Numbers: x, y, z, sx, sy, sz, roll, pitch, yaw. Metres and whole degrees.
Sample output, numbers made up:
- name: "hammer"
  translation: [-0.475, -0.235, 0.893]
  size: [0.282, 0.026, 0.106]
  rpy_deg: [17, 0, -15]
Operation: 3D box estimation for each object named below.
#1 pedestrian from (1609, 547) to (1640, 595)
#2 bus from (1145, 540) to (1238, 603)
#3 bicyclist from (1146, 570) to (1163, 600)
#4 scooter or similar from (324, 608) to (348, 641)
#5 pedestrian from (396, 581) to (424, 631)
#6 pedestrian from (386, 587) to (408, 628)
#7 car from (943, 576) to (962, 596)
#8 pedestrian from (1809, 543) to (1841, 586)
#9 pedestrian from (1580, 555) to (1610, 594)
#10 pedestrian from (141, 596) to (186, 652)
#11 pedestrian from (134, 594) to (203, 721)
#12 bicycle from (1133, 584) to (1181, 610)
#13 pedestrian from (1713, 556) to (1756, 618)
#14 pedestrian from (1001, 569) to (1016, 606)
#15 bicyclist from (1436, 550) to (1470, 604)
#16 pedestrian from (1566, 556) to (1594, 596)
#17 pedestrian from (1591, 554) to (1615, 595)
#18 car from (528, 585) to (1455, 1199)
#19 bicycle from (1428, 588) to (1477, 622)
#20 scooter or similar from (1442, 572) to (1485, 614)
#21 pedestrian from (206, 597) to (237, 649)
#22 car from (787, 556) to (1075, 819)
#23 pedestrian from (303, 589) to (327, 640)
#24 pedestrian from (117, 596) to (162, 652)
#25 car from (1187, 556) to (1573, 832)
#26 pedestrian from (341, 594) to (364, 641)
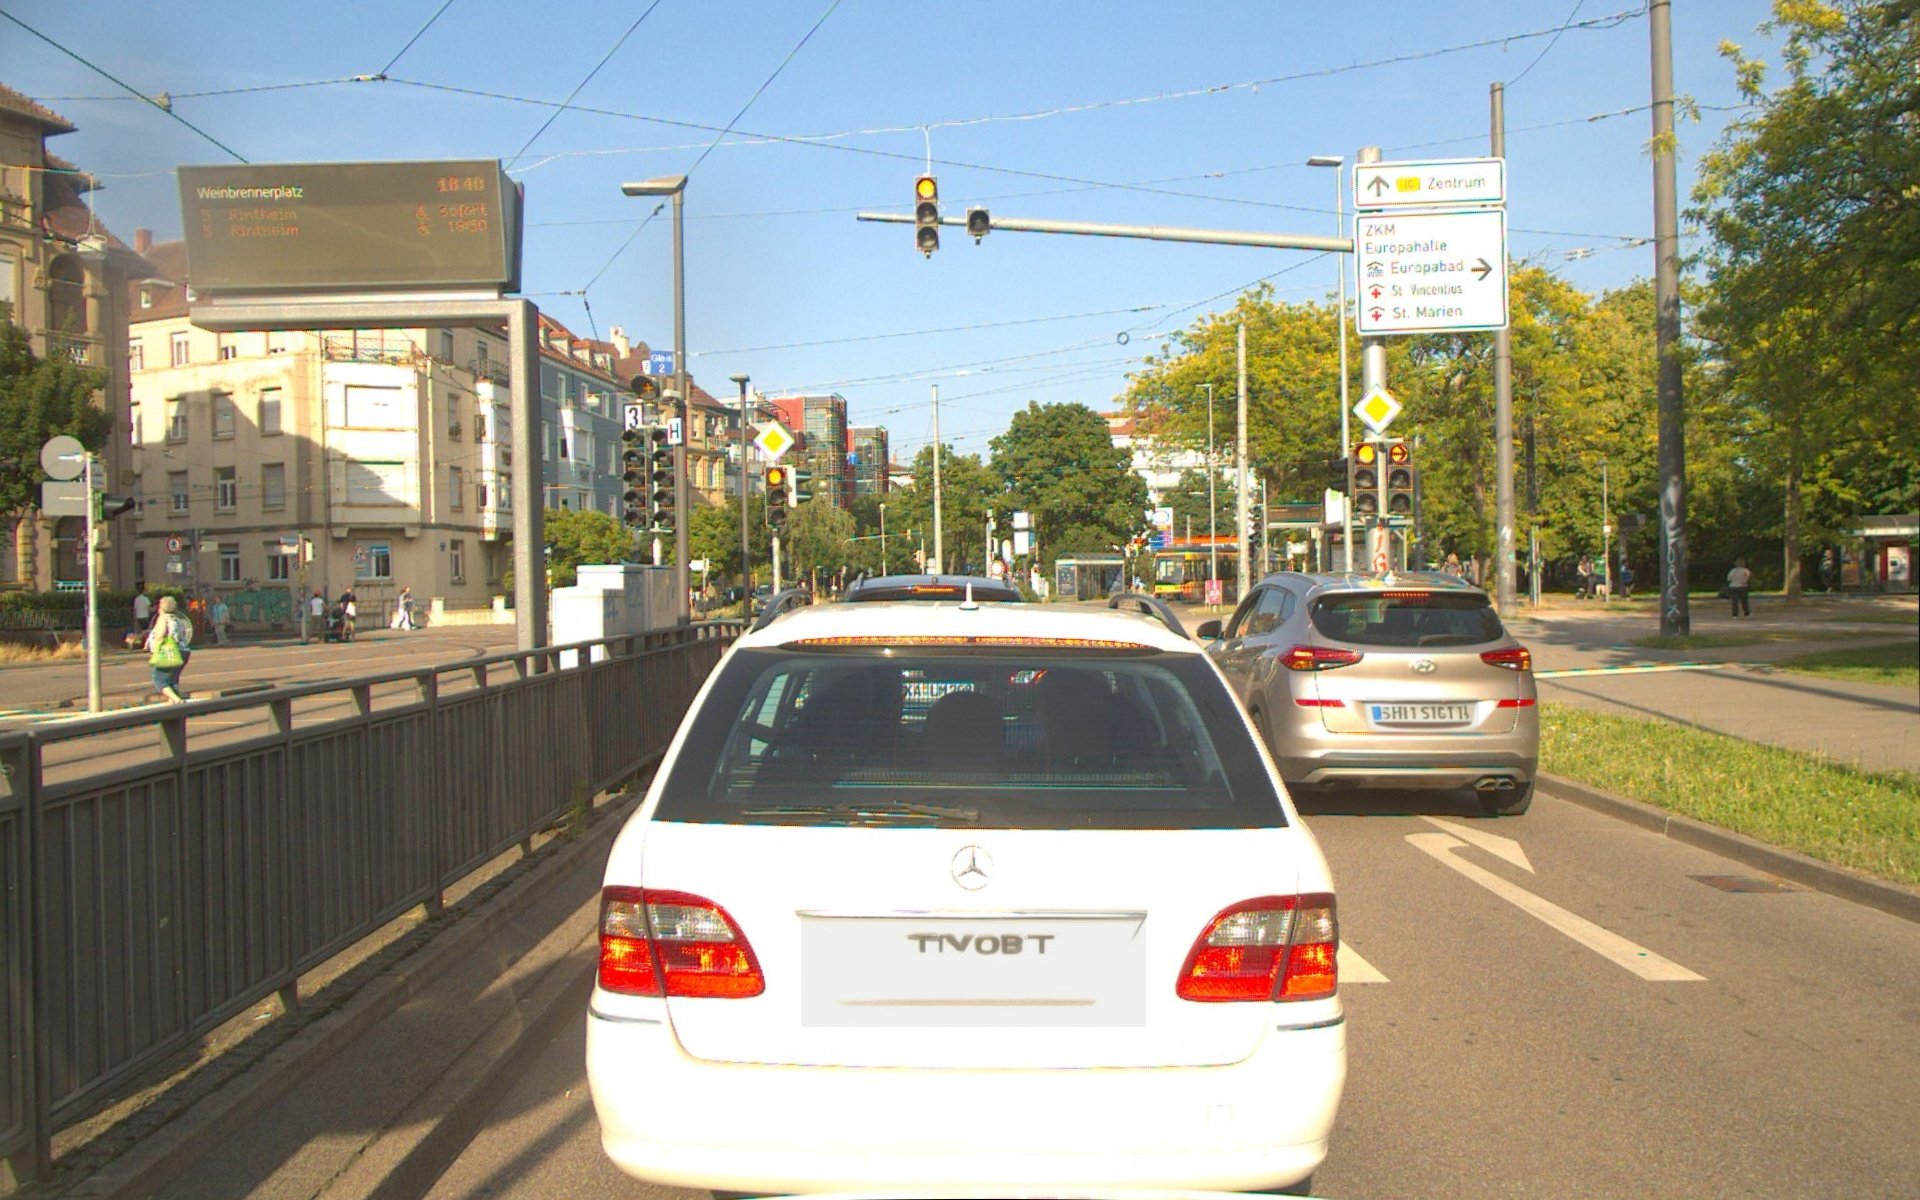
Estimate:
- name: "pedestrian"
  translation: [25.878, -1.119, 64.418]
  size: [0.784, 1.816, 0.838]
  rpy_deg: [-1, 0, -5]
- name: "bus"
  translation: [14.779, -1.723, 104.543]
  size: [3.045, 3.669, 12.374]
  rpy_deg: [1, 0, 21]
- name: "bicyclist"
  translation: [10.010, -0.754, 85.099]
  size: [0.842, 1.507, 0.790]
  rpy_deg: [-1, 0, 8]
- name: "scooter or similar"
  translation: [-20.837, 0.815, 55.206]
  size: [0.532, 1.098, 0.683]
  rpy_deg: [1, 0, -1]
- name: "pedestrian"
  translation: [-23.234, 0.252, 69.858]
  size: [0.758, 2.049, 0.787]
  rpy_deg: [-1, 0, 14]
- name: "pedestrian"
  translation: [-23.492, 0.302, 69.065]
  size: [0.606, 1.689, 0.586]
  rpy_deg: [-1, 0, 14]
- name: "car"
  translation: [-0.821, -1.461, 175.179]
  size: [1.953, 2.049, 3.999]
  rpy_deg: [1, 0, -1]
- name: "pedestrian"
  translation: [33.425, -1.369, 63.930]
  size: [0.818, 1.665, 0.803]
  rpy_deg: [-1, 0, 5]
- name: "pedestrian"
  translation: [24.859, -0.989, 64.758]
  size: [0.799, 1.513, 0.699]
  rpy_deg: [-1, 0, -12]
- name: "pedestrian"
  translation: [-22.760, 0.686, 47.257]
  size: [0.812, 1.579, 0.782]
  rpy_deg: [-1, 0, 21]
- name: "pedestrian"
  translation: [-10.367, 0.742, 21.674]
  size: [0.601, 1.627, 0.632]
  rpy_deg: [-1, 0, -7]
- name: "bicycle"
  translation: [10.143, -0.158, 85.097]
  size: [2.430, 1.234, 0.807]
  rpy_deg: [-1, 0, 7]
- name: "pedestrian"
  translation: [21.280, -0.354, 45.438]
  size: [0.748, 1.665, 0.797]
  rpy_deg: [-2, 0, -40]
- name: "pedestrian"
  translation: [2.538, -0.646, 86.595]
  size: [0.628, 1.889, 0.552]
  rpy_deg: [-1, 0, 11]
- name: "bicyclist"
  translation: [11.896, -0.559, 39.896]
  size: [0.523, 1.284, 0.869]
  rpy_deg: [-1, 0, -1]
- name: "pedestrian"
  translation: [24.052, -0.923, 64.137]
  size: [0.809, 1.513, 0.690]
  rpy_deg: [-2, 0, -42]
- name: "pedestrian"
  translation: [24.599, -0.969, 63.242]
  size: [0.797, 1.513, 0.700]
  rpy_deg: [-1, 0, 24]
- name: "car"
  translation: [0.031, 0.709, 4.968]
  size: [1.759, 1.496, 3.647]
  rpy_deg: [0, 0, -1]
- name: "bicycle"
  translation: [11.902, 0.116, 40.012]
  size: [0.485, 0.770, 2.168]
  rpy_deg: [-2, 0, -1]
- name: "scooter or similar"
  translation: [13.913, -0.202, 45.723]
  size: [0.413, 1.136, 1.322]
  rpy_deg: [-1, 0, -20]
- name: "pedestrian"
  translation: [-22.901, 0.706, 51.276]
  size: [0.616, 1.568, 0.711]
  rpy_deg: [-1, 0, -1]
- name: "car"
  translation: [-0.208, 0.554, 12.550]
  size: [1.846, 1.680, 3.647]
  rpy_deg: [1, 0, -1]
- name: "pedestrian"
  translation: [-21.238, 0.475, 54.458]
  size: [0.497, 1.654, 0.608]
  rpy_deg: [-1, 0, 0]
- name: "pedestrian"
  translation: [-23.630, 0.692, 47.619]
  size: [0.812, 1.579, 0.782]
  rpy_deg: [-1, 0, 21]
- name: "car"
  translation: [2.890, 0.574, 12.203]
  size: [1.846, 1.680, 3.647]
  rpy_deg: [-2, 0, -1]
- name: "pedestrian"
  translation: [-20.121, 0.588, 54.791]
  size: [0.428, 1.527, 0.549]
  rpy_deg: [-1, 0, 14]
